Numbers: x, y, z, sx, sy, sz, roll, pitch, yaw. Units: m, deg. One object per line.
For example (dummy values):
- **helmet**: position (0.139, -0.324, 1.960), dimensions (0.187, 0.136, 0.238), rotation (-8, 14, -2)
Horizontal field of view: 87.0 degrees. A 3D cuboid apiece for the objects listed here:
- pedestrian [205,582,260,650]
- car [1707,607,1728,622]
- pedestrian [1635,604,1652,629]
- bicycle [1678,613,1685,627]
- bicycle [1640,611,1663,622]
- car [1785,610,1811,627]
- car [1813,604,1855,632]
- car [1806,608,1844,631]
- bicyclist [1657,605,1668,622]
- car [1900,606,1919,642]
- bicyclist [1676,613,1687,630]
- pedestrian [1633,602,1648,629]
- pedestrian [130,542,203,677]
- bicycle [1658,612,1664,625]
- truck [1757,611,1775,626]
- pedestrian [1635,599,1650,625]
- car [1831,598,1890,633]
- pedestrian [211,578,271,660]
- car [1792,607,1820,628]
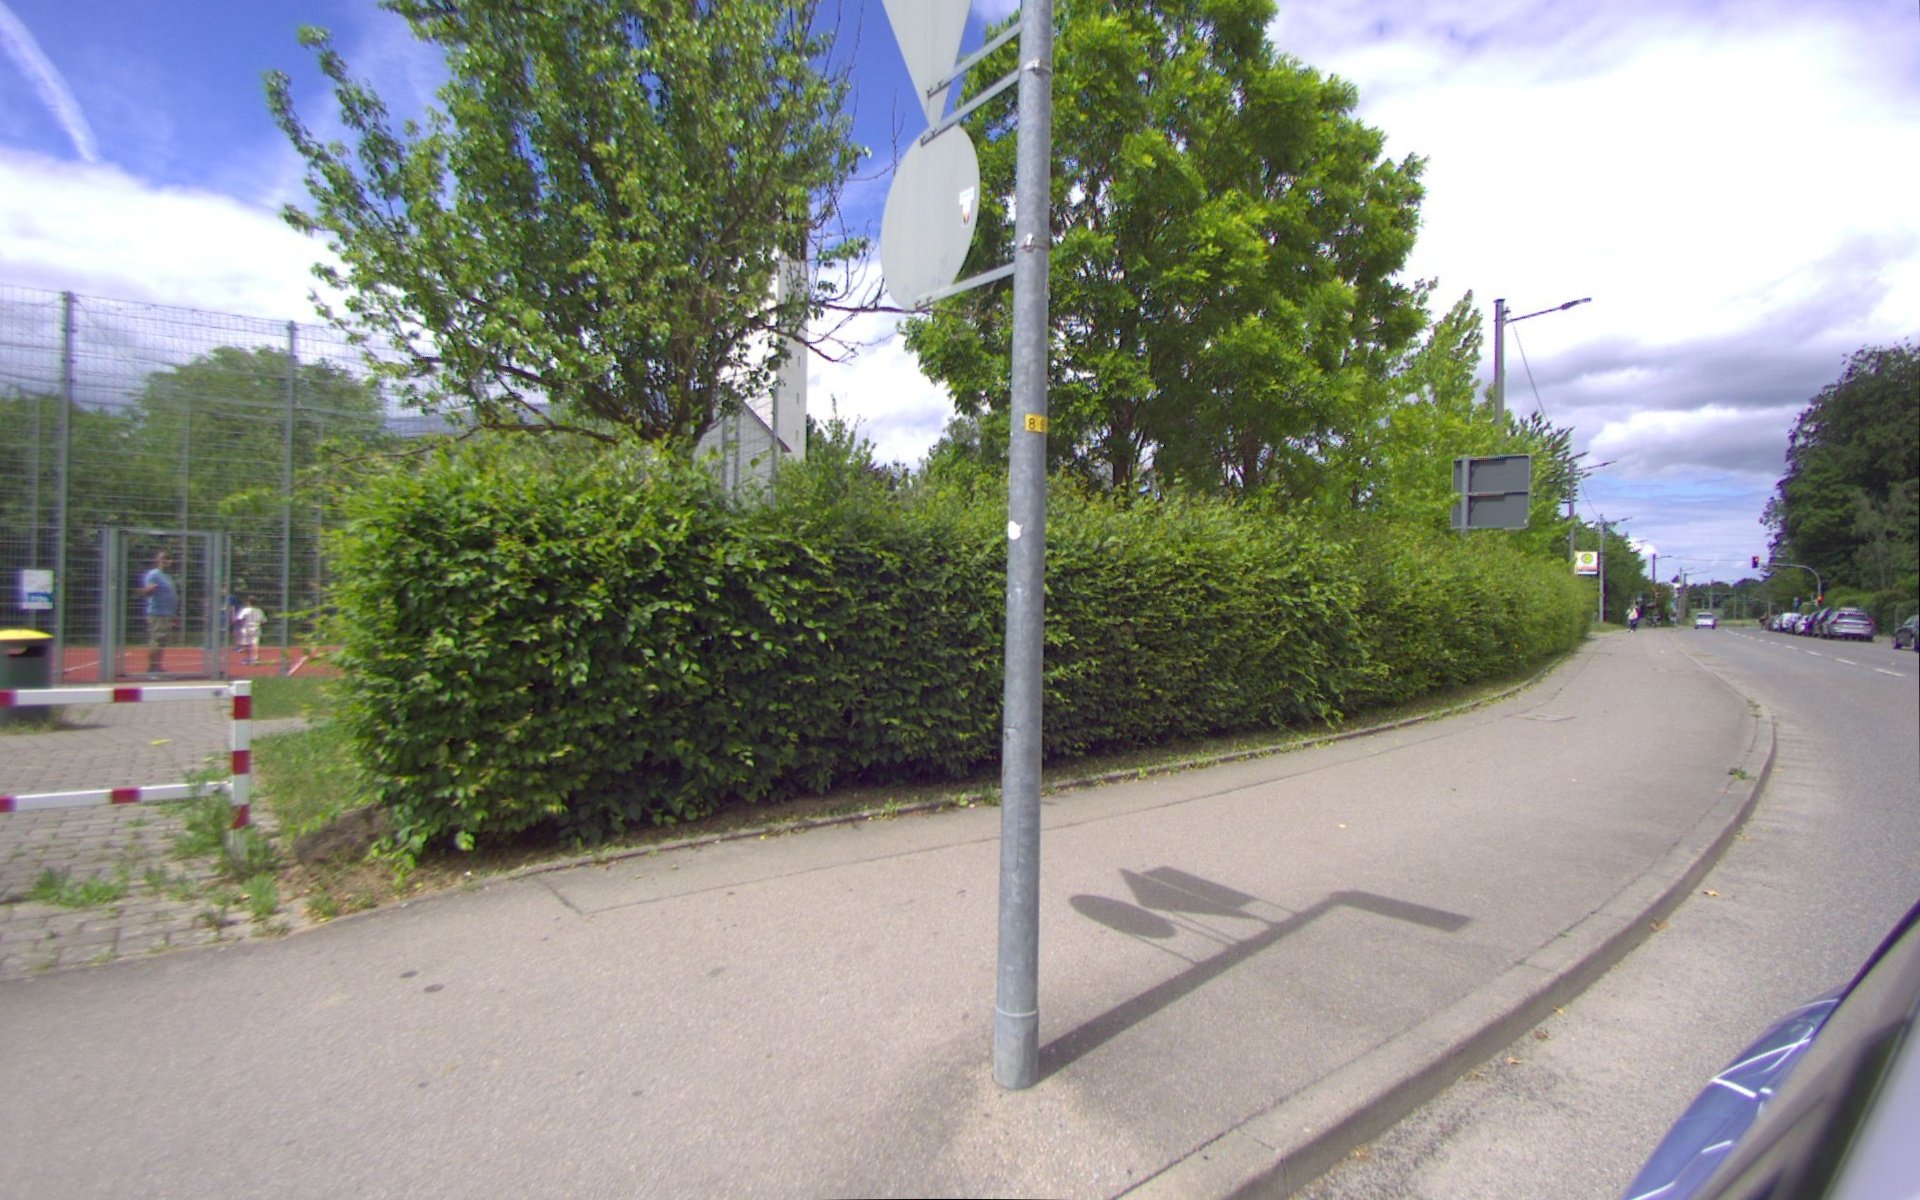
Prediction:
- **pedestrian**: position (-14.870, 0.320, 20.688), dimensions (0.783, 1.364, 0.462), rotation (0, -1, -3)
- **car**: position (75.197, 1.417, 100.462), dimensions (1.658, 1.420, 3.846), rotation (1, 0, 37)
- **pedestrian**: position (45.143, 1.090, 66.807), dimensions (0.839, 1.680, 0.754), rotation (-1, -2, 41)
- **bicycle**: position (67.907, 1.903, 95.247), dimensions (0.448, 1.302, 2.181), rotation (-1, -1, 33)
- **bicycle**: position (76.188, 1.793, 111.428), dimensions (2.082, 1.165, 0.523), rotation (0, -1, 36)
- **car**: position (80.242, 1.803, 96.877), dimensions (1.704, 1.471, 4.292), rotation (5, 2, 41)
- **car**: position (57.548, 1.197, 66.700), dimensions (1.622, 1.699, 4.523), rotation (3, 1, 36)
- **car**: position (61.442, 1.370, 71.950), dimensions (1.802, 1.477, 4.998), rotation (3, 1, 38)
- **bicyclist**: position (66.876, 1.277, 96.402), dimensions (0.822, 1.558, 0.850), rotation (1, -1, 37)
- **car**: position (38.894, 0.986, 40.053), dimensions (1.643, 1.445, 3.862), rotation (2, 0, 31)
- **bicyclist**: position (68.286, 2.009, 95.780), dimensions (0.822, 1.558, 0.851), rotation (-1, -1, 36)
- **pedestrian**: position (41.904, 0.939, 62.302), dimensions (0.685, 1.680, 0.679), rotation (-1, -2, 41)
- **pedestrian**: position (-11.317, 0.137, 14.449), dimensions (0.736, 1.863, 0.553), rotation (1, -1, -31)
- **bicycle**: position (66.824, 1.741, 96.453), dimensions (0.449, 1.164, 2.178), rotation (0, 0, 37)
- **truck**: position (137.147, 3.196, 172.200), dimensions (2.185, 2.401, 6.809), rotation (3, 1, 38)
- **pedestrian**: position (51.672, 0.904, 76.621), dimensions (0.745, 1.907, 0.788), rotation (-1, -2, 44)
- **car**: position (50.481, 0.859, 56.790), dimensions (1.979, 1.842, 4.646), rotation (1, 0, 36)
- **pedestrian**: position (-12.296, 0.325, 17.327), dimensions (0.782, 1.364, 0.463), rotation (0, -1, -30)
- **car**: position (77.437, 1.588, 92.689), dimensions (1.673, 1.780, 4.546), rotation (3, 1, 36)
